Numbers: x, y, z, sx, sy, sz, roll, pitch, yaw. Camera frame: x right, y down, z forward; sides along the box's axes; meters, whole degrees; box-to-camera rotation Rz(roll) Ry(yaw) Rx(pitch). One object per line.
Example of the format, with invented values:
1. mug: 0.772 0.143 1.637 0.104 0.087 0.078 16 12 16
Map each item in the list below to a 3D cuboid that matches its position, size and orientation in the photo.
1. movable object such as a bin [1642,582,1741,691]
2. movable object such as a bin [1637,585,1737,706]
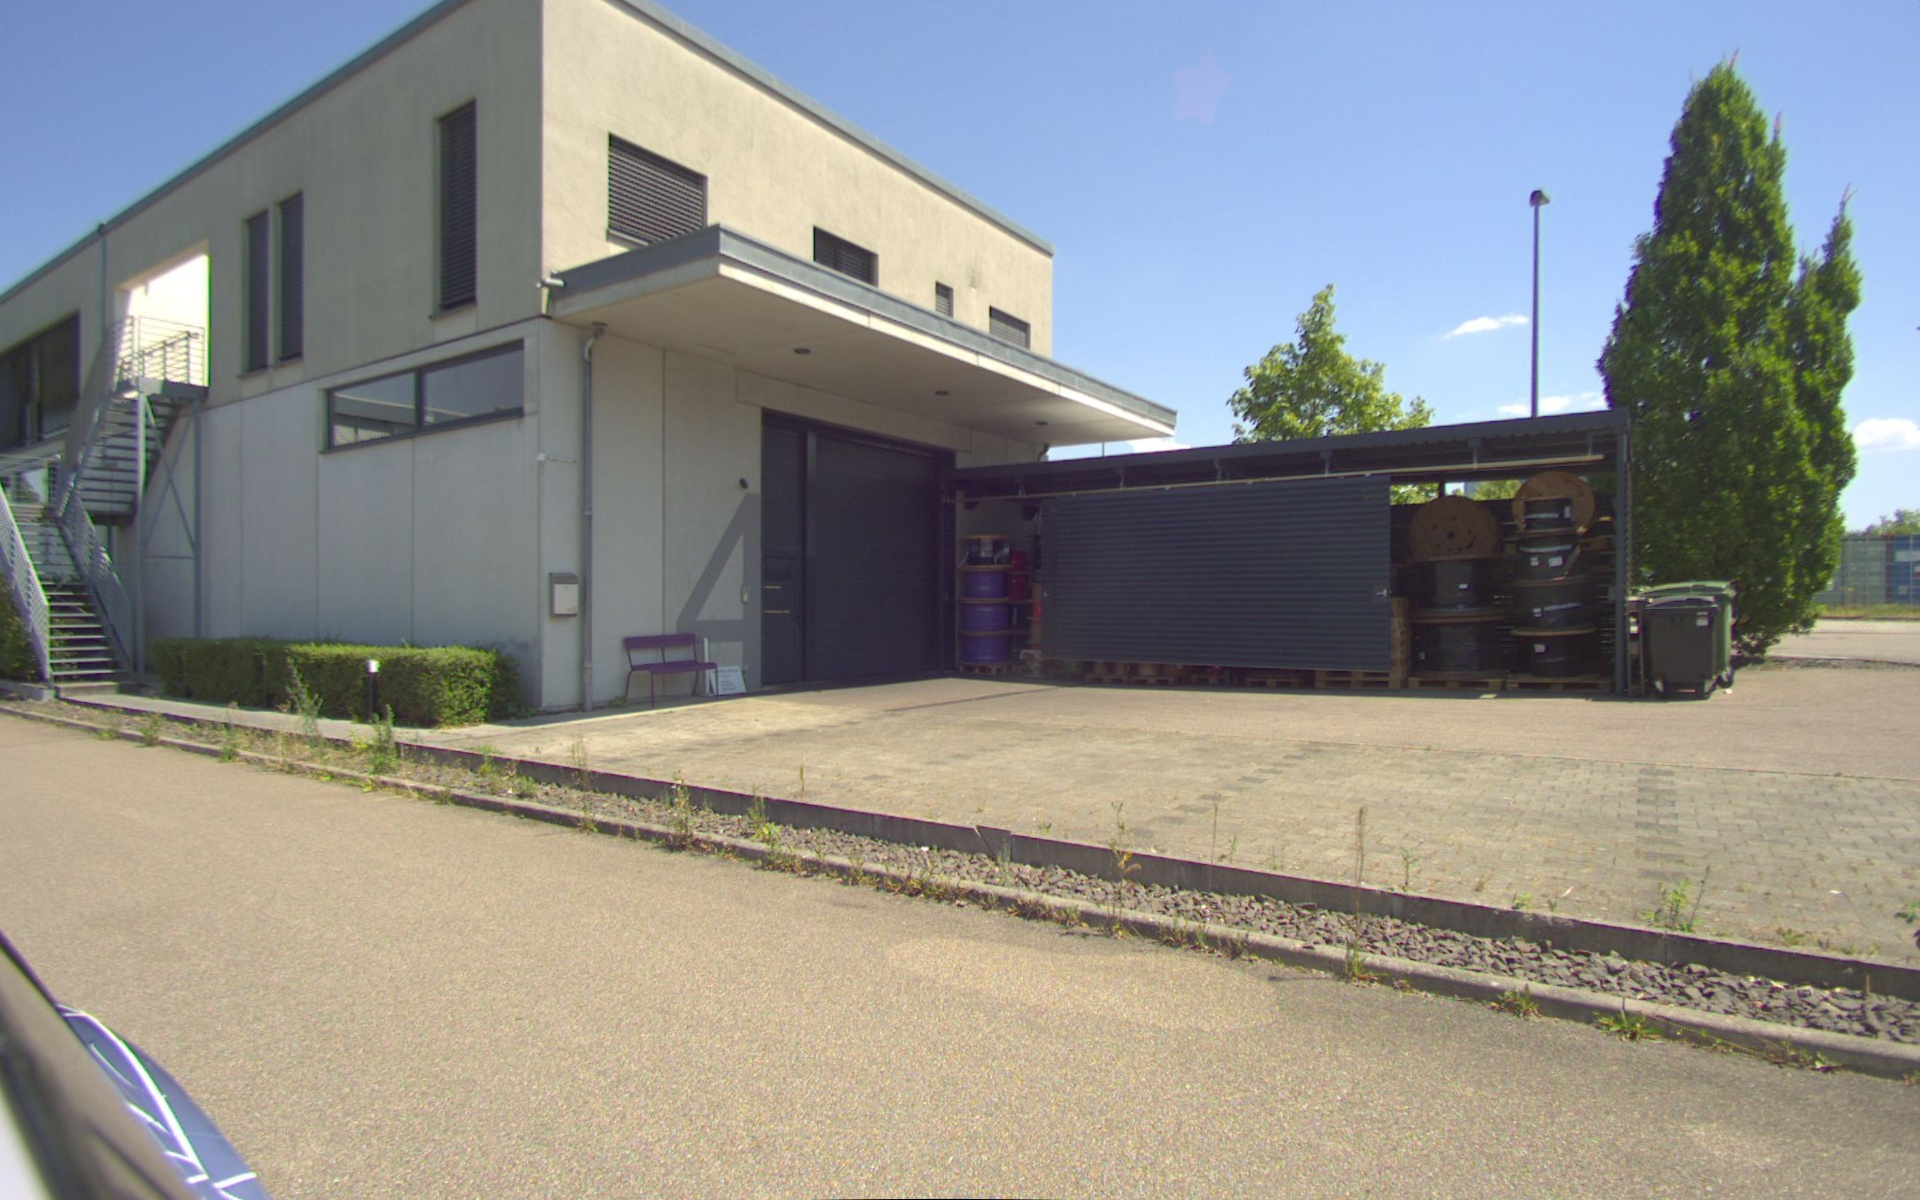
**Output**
1. movable object such as a bin: 9.389 0.452 12.991 0.973 1.340 0.700 -1 0 40
2. movable object such as a bin: 8.550 0.510 11.893 0.883 1.355 0.802 -1 0 40
